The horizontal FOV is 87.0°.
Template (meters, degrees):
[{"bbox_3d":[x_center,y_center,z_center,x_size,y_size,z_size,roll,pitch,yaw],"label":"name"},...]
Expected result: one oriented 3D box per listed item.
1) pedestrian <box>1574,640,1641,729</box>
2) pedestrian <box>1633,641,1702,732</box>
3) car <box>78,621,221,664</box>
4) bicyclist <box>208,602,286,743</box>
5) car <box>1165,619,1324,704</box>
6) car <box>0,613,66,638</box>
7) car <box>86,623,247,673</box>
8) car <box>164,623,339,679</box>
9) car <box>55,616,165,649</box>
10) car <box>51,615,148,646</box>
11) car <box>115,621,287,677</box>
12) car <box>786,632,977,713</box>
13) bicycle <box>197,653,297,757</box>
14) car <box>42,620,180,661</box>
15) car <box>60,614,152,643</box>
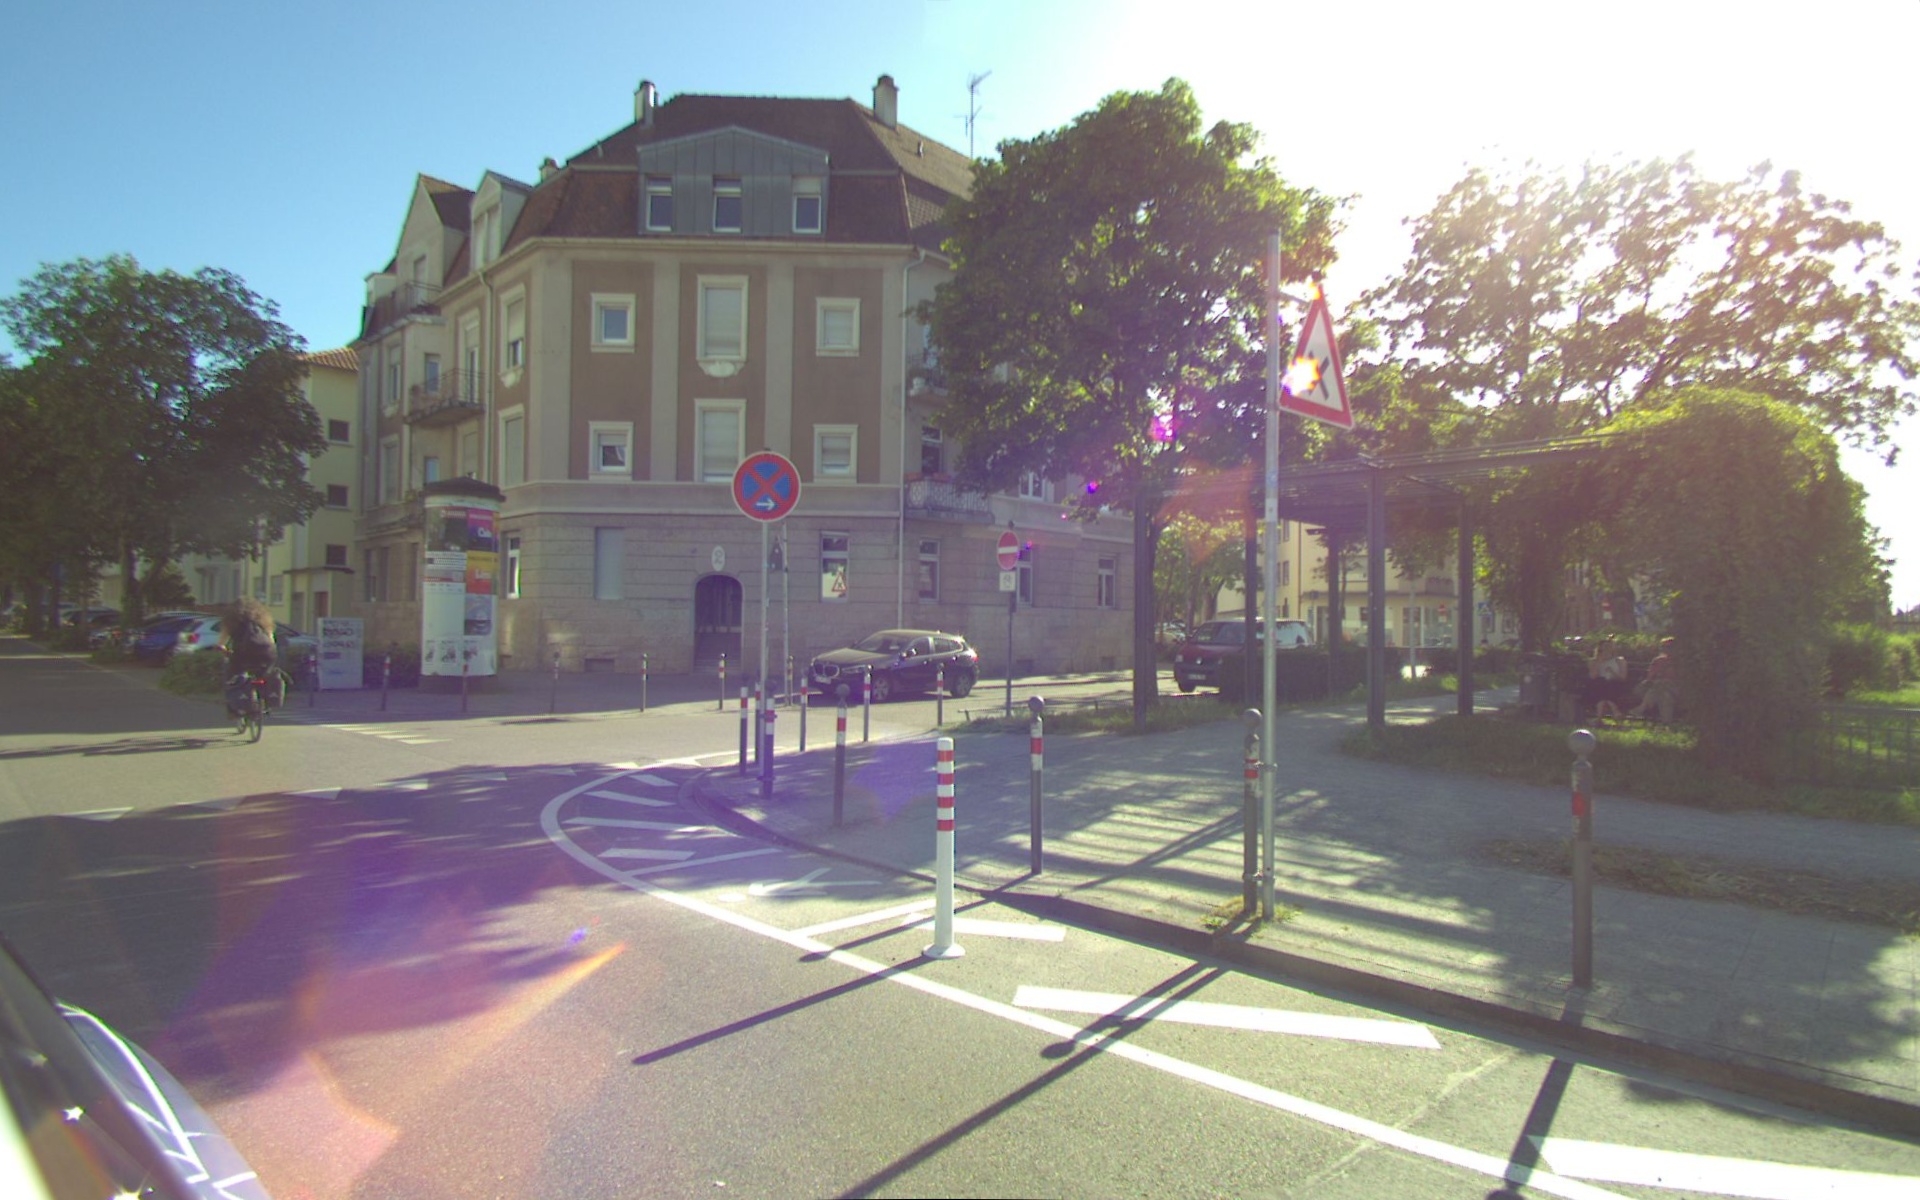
[{"bbox_3d":[8.825,1.130,13.789,0.599,1.158,0.834,-2,-3,45],"label":"pedestrian"},{"bbox_3d":[9.297,1.116,13.298,0.599,1.147,0.862,-2,-3,45],"label":"pedestrian"},{"bbox_3d":[-29.751,1.516,37.242,1.686,1.506,3.752,-1,-1,30],"label":"car"},{"bbox_3d":[-8.620,0.857,12.236,0.637,1.632,0.635,-1,-3,45],"label":"bicyclist"},{"bbox_3d":[7.600,1.573,26.724,4.814,1.975,1.898,3,-1,-45],"label":"car"},{"bbox_3d":[-67.062,1.837,73.136,1.692,1.716,3.481,-1,-1,42],"label":"car"},{"bbox_3d":[-25.535,1.492,32.673,1.686,1.506,3.752,-1,-1,30],"label":"car"},{"bbox_3d":[-19.888,1.384,28.506,1.691,1.455,3.739,-1,-1,41],"label":"car"},{"bbox_3d":[-40.253,1.508,47.994,1.690,1.506,3.742,-1,-1,39],"label":"car"},{"bbox_3d":[-43.467,1.501,51.161,1.690,1.506,3.485,-1,-1,39],"label":"car"},{"bbox_3d":[-22.006,1.375,29.444,1.691,1.506,3.739,-1,-1,41],"label":"car"},{"bbox_3d":[-1.624,1.515,22.106,1.867,1.494,3.960,3,0,41],"label":"car"},{"bbox_3d":[-8.678,1.222,12.281,0.635,1.117,2.066,2,-3,-45],"label":"bicycle"},{"bbox_3d":[-32.675,1.512,39.055,1.686,1.506,3.752,-1,-1,30],"label":"car"},{"bbox_3d":[-45.099,1.488,53.491,1.690,1.506,3.485,-1,-1,39],"label":"car"}]
